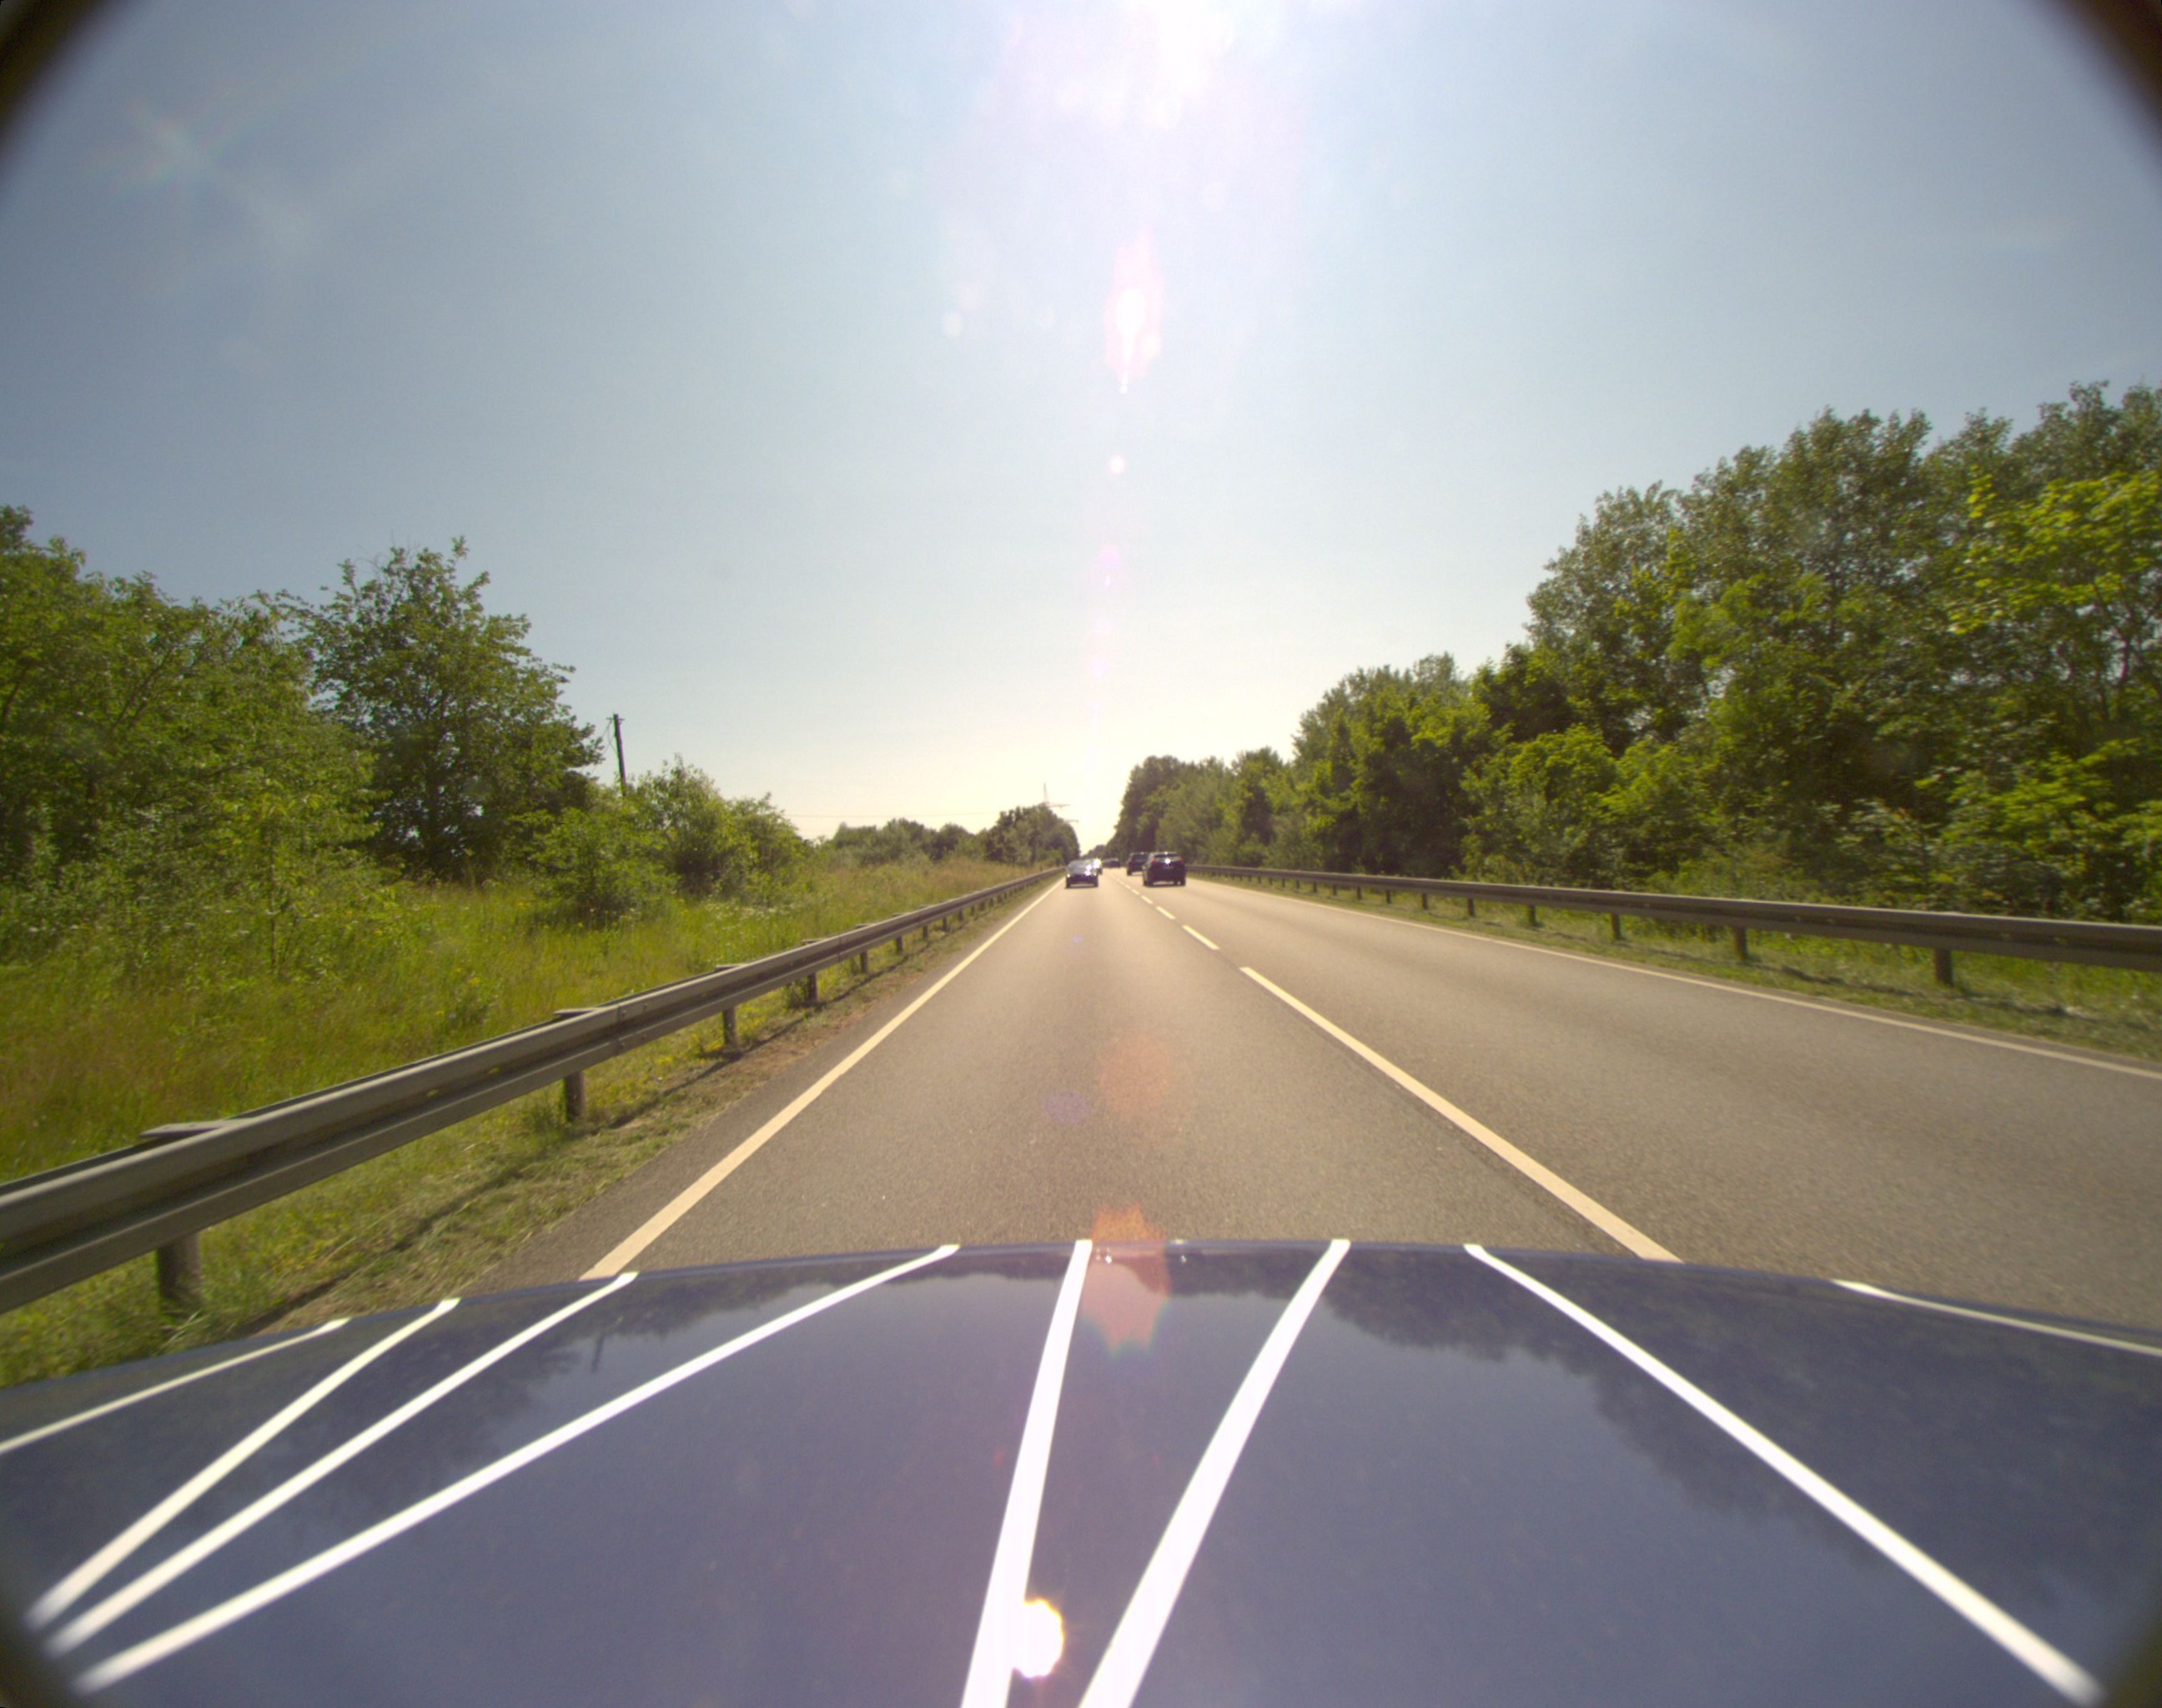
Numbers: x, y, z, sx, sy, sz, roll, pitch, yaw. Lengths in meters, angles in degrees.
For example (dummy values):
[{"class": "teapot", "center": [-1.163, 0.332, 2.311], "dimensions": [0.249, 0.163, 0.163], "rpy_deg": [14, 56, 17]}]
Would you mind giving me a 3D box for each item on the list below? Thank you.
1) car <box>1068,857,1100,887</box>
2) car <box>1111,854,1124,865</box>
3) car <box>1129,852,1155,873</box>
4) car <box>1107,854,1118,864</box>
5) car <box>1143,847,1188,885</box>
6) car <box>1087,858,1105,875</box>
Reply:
[{"class": "car", "center": [0.156, 0.916, 39.486], "dimensions": [1.529, 1.387, 3.443], "rpy_deg": [-2, 0, 1]}, {"class": "car", "center": [5.416, 0.821, 114.147], "dimensions": [1.762, 1.532, 3.806], "rpy_deg": [-2, 0, 0]}, {"class": "car", "center": [4.838, 0.632, 60.789], "dimensions": [1.762, 1.532, 3.806], "rpy_deg": [-2, 0, 0]}, {"class": "car", "center": [5.487, 0.841, 132.998], "dimensions": [1.762, 1.532, 3.806], "rpy_deg": [-2, 0, 0]}, {"class": "car", "center": [4.091, 0.560, 37.325], "dimensions": [1.762, 1.694, 4.000], "rpy_deg": [-2, 0, 0]}, {"class": "car", "center": [1.288, 1.090, 67.993], "dimensions": [1.443, 1.443, 3.297], "rpy_deg": [-2, 1, -1]}]
